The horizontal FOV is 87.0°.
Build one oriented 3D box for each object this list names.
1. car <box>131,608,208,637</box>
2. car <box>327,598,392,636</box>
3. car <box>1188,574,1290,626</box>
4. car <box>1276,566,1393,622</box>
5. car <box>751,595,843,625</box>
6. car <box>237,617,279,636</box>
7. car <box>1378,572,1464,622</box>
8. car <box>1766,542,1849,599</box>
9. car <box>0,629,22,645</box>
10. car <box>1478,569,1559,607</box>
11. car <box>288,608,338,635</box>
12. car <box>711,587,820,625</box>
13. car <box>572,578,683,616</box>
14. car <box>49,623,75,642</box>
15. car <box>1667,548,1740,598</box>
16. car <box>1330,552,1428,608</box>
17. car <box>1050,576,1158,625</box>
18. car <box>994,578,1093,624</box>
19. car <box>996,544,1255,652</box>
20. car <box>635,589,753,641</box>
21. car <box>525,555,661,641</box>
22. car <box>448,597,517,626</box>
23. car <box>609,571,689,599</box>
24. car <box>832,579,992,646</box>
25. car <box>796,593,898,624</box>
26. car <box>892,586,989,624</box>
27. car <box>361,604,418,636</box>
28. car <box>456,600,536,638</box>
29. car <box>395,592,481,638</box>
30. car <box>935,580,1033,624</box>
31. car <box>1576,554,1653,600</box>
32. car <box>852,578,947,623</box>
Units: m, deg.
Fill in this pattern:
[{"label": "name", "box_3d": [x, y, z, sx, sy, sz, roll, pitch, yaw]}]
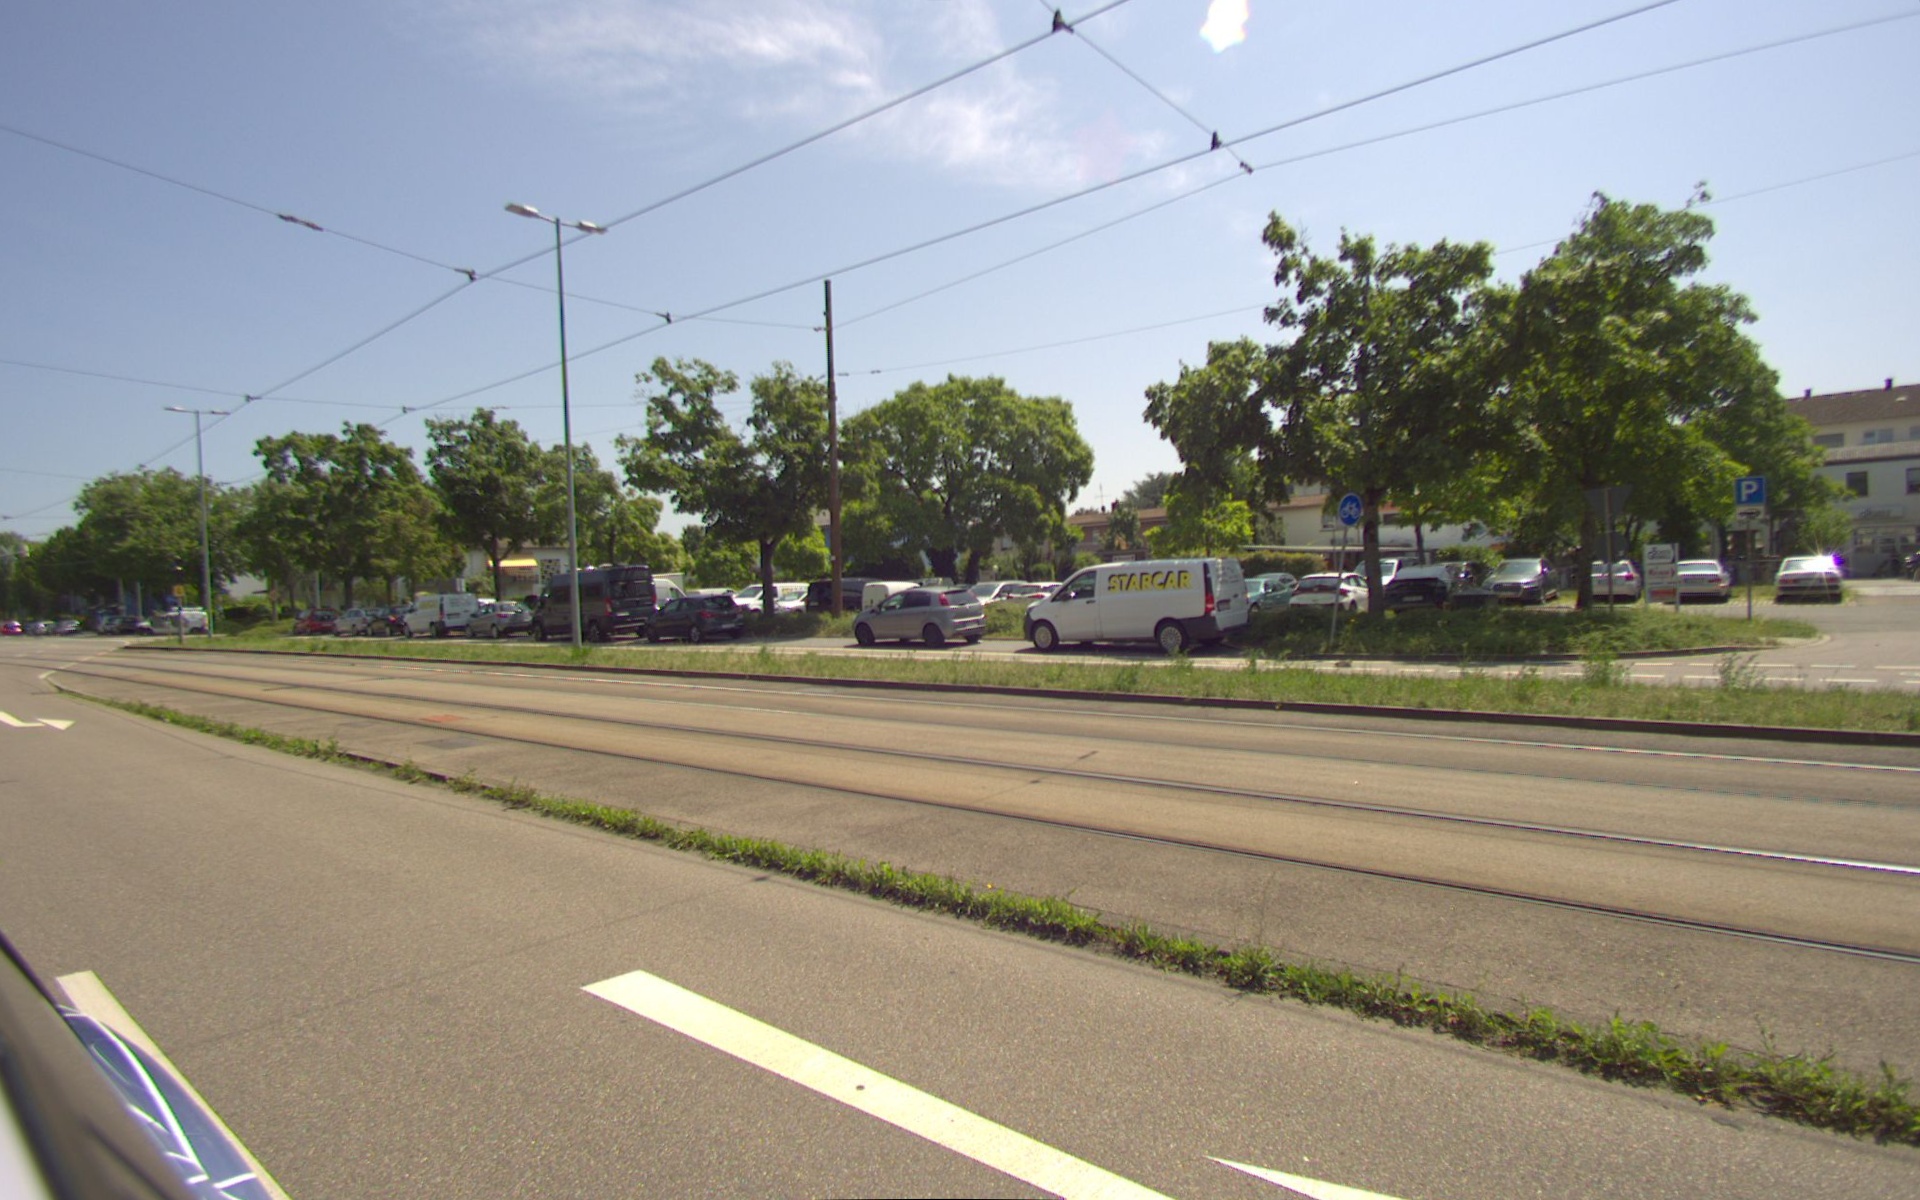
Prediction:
[{"label": "car", "box_3d": [-57.240, 1.625, 73.381, 4.141, 2.005, 1.828, -1, 0, -28]}, {"label": "car", "box_3d": [-31.382, 0.865, 52.843, 4.494, 1.907, 1.614, -1, 0, 41]}, {"label": "car", "box_3d": [8.644, -0.018, 31.153, 1.908, 1.501, 3.995, -1, 0, 33]}, {"label": "car", "box_3d": [11.142, -0.204, 29.968, 1.983, 1.501, 4.120, -2, 1, 39]}, {"label": "car", "box_3d": [-7.178, 0.421, 44.925, 1.732, 1.152, 3.951, -2, 1, 37]}, {"label": "car", "box_3d": [-45.217, 1.678, 65.173, 3.423, 1.167, 1.561, -1, 0, 43]}, {"label": "car", "box_3d": [12.721, -0.097, 27.847, 1.639, 1.241, 3.386, -2, 1, 33]}, {"label": "car", "box_3d": [26.839, -0.900, 32.007, 1.803, 1.669, 3.944, -1, 0, 43]}, {"label": "car", "box_3d": [-96.463, 3.762, 102.542, 3.423, 1.491, 1.796, -1, 0, 43]}, {"label": "car", "box_3d": [20.501, -0.433, 37.096, 1.764, 1.294, 3.676, -1, 0, 43]}, {"label": "car", "box_3d": [-36.394, 1.194, 56.922, 3.423, 1.491, 1.561, -1, 0, 43]}, {"label": "car", "box_3d": [-9.018, 0.245, 47.252, 1.997, 1.588, 4.867, -1, 1, 38]}, {"label": "car", "box_3d": [-17.621, -0.176, 53.848, 2.029, 1.970, 5.363, -1, 0, 42]}, {"label": "car", "box_3d": [-94.879, 3.448, 106.924, 3.983, 1.867, 1.681, -1, 0, 43]}, {"label": "car", "box_3d": [25.018, -0.876, 34.012, 1.520, 1.591, 3.944, -1, 0, 43]}, {"label": "car", "box_3d": [16.982, -0.779, 40.886, 2.225, 2.085, 5.055, -1, 0, 41]}, {"label": "car", "box_3d": [4.950, -0.019, 34.322, 2.018, 1.501, 4.117, -2, 1, 33]}, {"label": "car", "box_3d": [3.069, 0.009, 36.485, 1.827, 1.501, 4.030, -2, 1, 33]}, {"label": "car", "box_3d": [3.472, -0.035, 22.086, 5.342, 2.025, 1.856, -1, 4, 42]}, {"label": "car", "box_3d": [-8.630, 0.464, 32.753, 3.751, 1.589, 1.950, -1, 0, 42]}, {"label": "car", "box_3d": [-13.391, -0.057, 36.723, 5.665, 2.859, 2.215, -1, 0, 42]}, {"label": "car", "box_3d": [-32.700, 0.772, 69.373, 1.712, 1.888, 3.953, -1, 0, 34]}, {"label": "car", "box_3d": [-23.884, -1.126, 77.951, 2.145, 2.078, 5.674, -1, 0, 38]}, {"label": "car", "box_3d": [-1.306, 0.317, 26.299, 4.124, 1.513, 1.633, -1, 4, 42]}, {"label": "car", "box_3d": [-4.772, 0.347, 43.331, 2.029, 1.152, 4.210, -2, 1, 37]}, {"label": "car", "box_3d": [-0.734, 0.174, 40.122, 1.794, 1.417, 3.951, -2, -1, 37]}, {"label": "car", "box_3d": [-27.946, 0.977, 49.534, 3.261, 1.489, 1.411, -1, 0, 41]}, {"label": "car", "box_3d": [-19.388, 0.779, 42.260, 3.607, 1.475, 1.744, -1, 0, 42]}, {"label": "car", "box_3d": [-23.763, 0.659, 45.959, 4.816, 1.963, 1.899, -1, 0, 42]}, {"label": "car", "box_3d": [0.952, 0.044, 37.837, 1.862, 1.499, 3.955, -2, 1, 33]}, {"label": "car", "box_3d": [23.402, -0.795, 36.126, 1.661, 1.531, 3.944, -1, 0, 43]}, {"label": "car", "box_3d": [-2.473, -0.012, 42.191, 1.794, 1.730, 3.951, -2, 1, 37]}]
